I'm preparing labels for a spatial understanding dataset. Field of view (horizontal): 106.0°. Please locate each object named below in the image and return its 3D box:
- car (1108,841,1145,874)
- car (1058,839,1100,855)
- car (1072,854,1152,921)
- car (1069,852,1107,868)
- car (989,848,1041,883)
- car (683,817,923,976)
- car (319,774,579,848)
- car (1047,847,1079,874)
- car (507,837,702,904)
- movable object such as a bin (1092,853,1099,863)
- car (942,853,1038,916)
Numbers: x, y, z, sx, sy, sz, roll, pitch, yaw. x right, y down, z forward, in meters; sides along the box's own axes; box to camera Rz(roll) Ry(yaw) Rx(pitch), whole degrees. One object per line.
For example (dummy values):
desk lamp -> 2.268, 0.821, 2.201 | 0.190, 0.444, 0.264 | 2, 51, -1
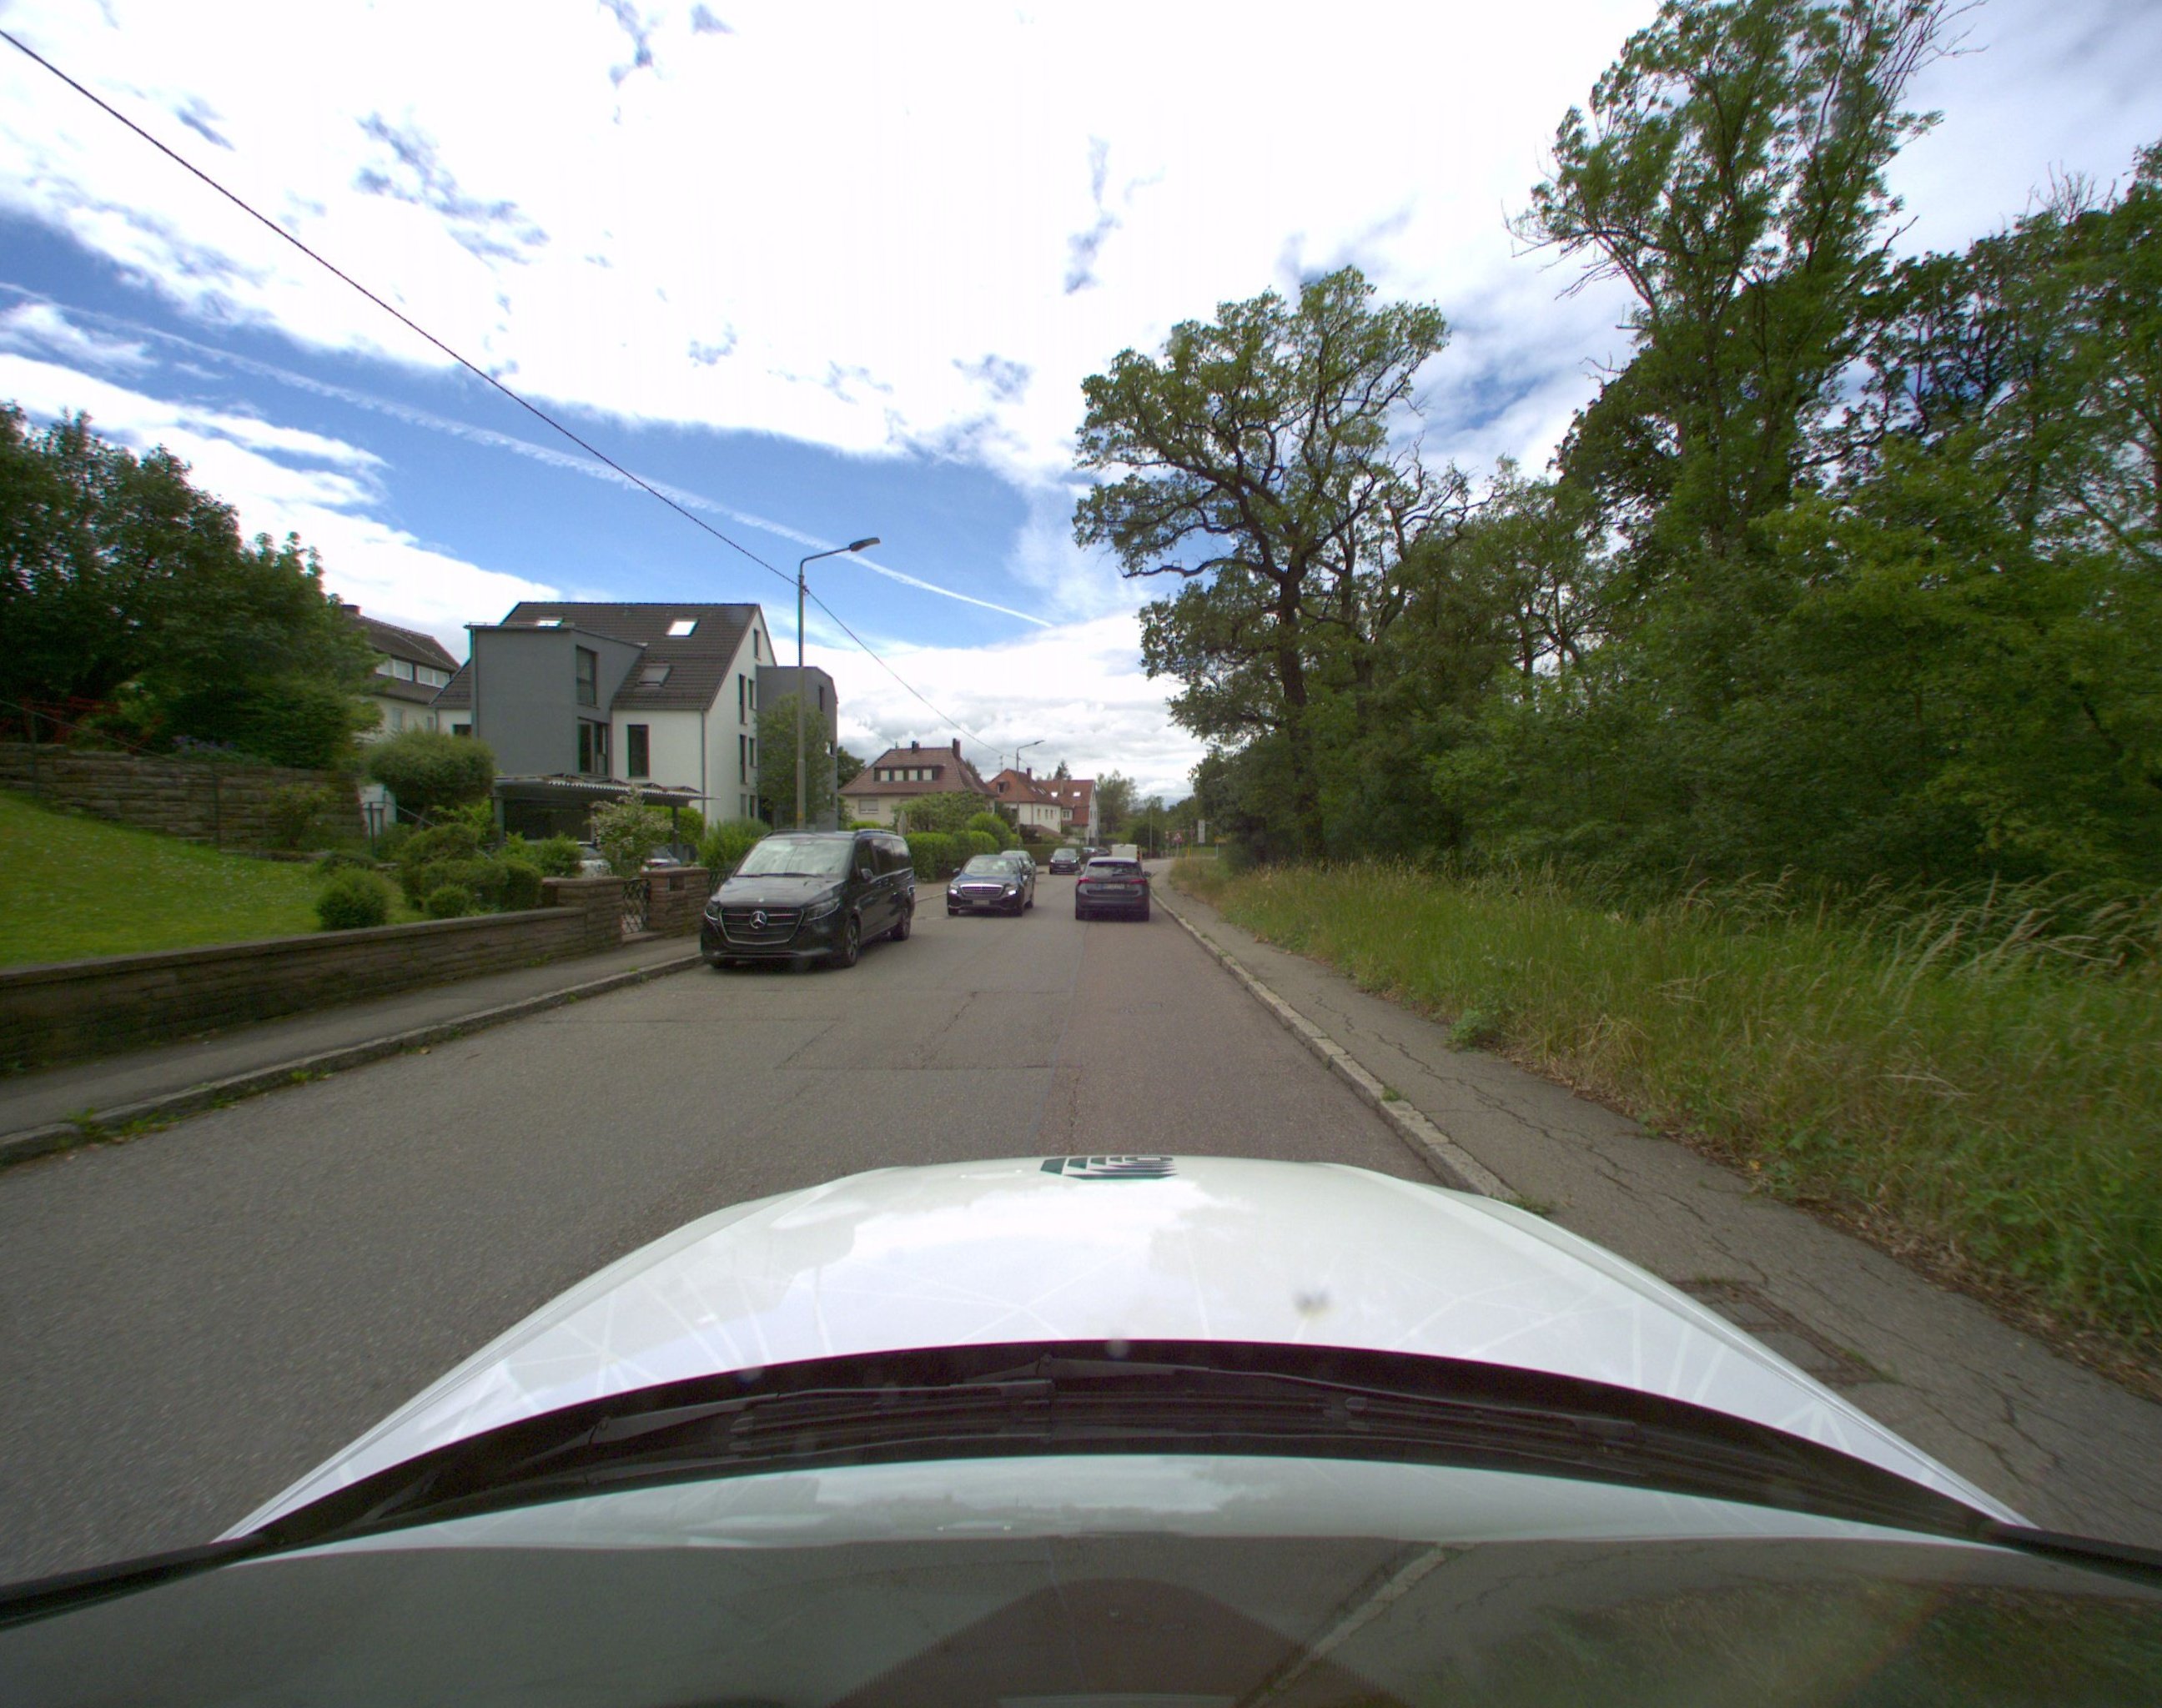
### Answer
car -> 2.895, 0.210, 51.018 | 2.061, 1.922, 4.930 | 1, 0, 5
car -> -0.185, -0.715, 83.753 | 3.962, 1.618, 2.006 | 0, 0, 10
car -> 0.666, 0.745, 20.161 | 1.723, 1.439, 4.322 | 1, 0, -1
car -> 0.773, 0.660, 88.248 | 3.969, 1.706, 1.919 | 1, 0, 4
car -> -2.996, 0.517, 37.707 | 1.775, 1.500, 4.019 | 1, 0, 4
car -> -3.924, 0.521, 12.585 | 1.856, 1.926, 5.039 | 1, 0, 1
car -> -15.160, -1.030, 19.763 | 4.604, 1.697, 1.999 | 0, 2, -2
car -> -1.085, 0.375, 51.733 | 1.827, 1.597, 4.325 | 1, 1, 1
car -> -12.954, 0.420, 22.385 | 4.111, 1.697, 1.999 | 0, 2, -2
movable object such as a bin -> 1.462, 0.387, 79.969 | 0.596, 0.951, 0.581 | 0, 0, 8
car -> -2.219, 0.695, 21.011 | 1.856, 1.414, 4.593 | 1, 0, 1
